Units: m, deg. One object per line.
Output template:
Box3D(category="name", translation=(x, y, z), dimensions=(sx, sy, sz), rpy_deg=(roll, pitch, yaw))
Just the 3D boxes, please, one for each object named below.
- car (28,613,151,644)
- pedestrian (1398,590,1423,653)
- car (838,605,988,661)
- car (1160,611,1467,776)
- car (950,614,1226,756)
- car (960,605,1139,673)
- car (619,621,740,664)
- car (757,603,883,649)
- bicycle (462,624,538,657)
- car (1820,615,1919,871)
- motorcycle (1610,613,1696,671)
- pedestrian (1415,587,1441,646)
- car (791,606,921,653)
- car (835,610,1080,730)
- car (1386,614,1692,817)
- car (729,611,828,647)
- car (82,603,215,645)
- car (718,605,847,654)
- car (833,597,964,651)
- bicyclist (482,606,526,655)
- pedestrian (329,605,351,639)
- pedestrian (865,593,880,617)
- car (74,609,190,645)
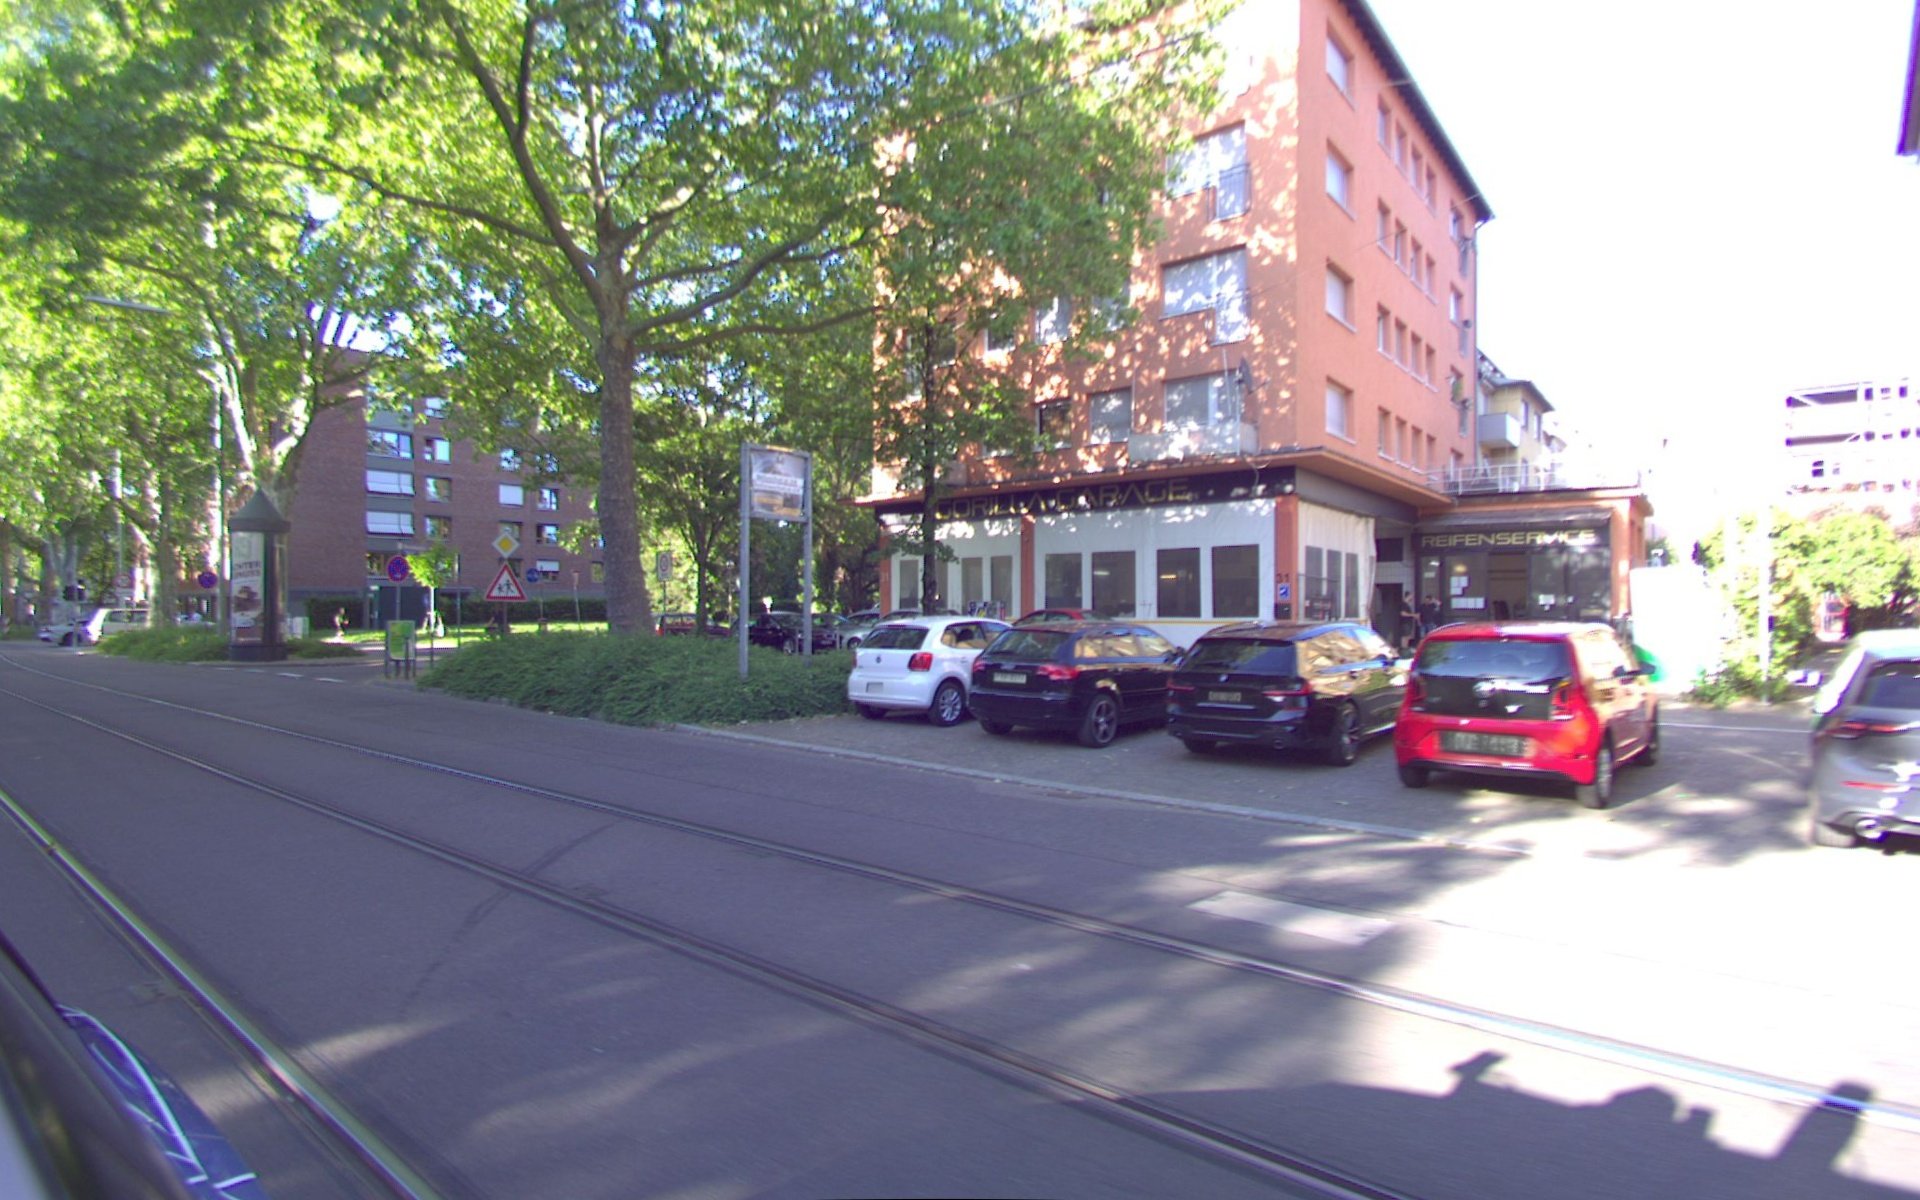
Box3D(category="car", translation=(-46.112, 1.477, 53.685), dimensions=(1.953, 1.471, 4.717), rpy_deg=(-1, 0, 39))
Box3D(category="pedestrian", translation=(12.934, 0.610, 29.054), dimensions=(0.520, 1.791, 0.534), rpy_deg=(-1, -1, 40))
Box3D(category="car", translation=(-1.330, 0.858, 27.859), dimensions=(3.891, 1.418, 1.927), rpy_deg=(-1, 0, 42))
Box3D(category="car", translation=(4.129, 0.891, 11.457), dimensions=(1.821, 1.476, 4.038), rpy_deg=(-1, 0, 43))
Box3D(category="car", translation=(1.709, 0.936, 12.743), dimensions=(1.687, 1.476, 3.562), rpy_deg=(-1, 0, 43))
Box3D(category="car", translation=(2.138, 0.902, 24.769), dimensions=(3.999, 1.498, 1.927), rpy_deg=(-1, 0, 42))
Box3D(category="car", translation=(-11.006, 1.637, 39.986), dimensions=(1.856, 1.500, 4.488), rpy_deg=(-1, 0, 35))
Box3D(category="car", translation=(-4.884, 0.882, 35.219), dimensions=(3.985, 1.537, 1.979), rpy_deg=(-1, 0, 31))
Box3D(category="bicycle", translation=(-14.693, 1.283, 32.303), dimensions=(2.574, 1.006, 0.961), rpy_deg=(-1, 0, 31))
Box3D(category="car", translation=(7.386, 0.873, 7.245), dimensions=(1.853, 1.476, 3.946), rpy_deg=(-1, 0, 40))
Box3D(category="motorcycle", translation=(15.931, 0.949, 23.293), dimensions=(1.562, 1.298, 0.587), rpy_deg=(-1, -1, 41))
Box3D(category="pedestrian", translation=(13.601, 0.477, 29.399), dimensions=(0.549, 1.673, 0.498), rpy_deg=(-1, -1, 41))
Box3D(category="car", translation=(-3.833, 1.058, 37.111), dimensions=(4.545, 1.630, 1.977), rpy_deg=(-1, 0, 34))
Box3D(category="car", translation=(0.047, 0.908, 14.651), dimensions=(1.697, 1.476, 3.382), rpy_deg=(-1, 0, 43))
Box3D(category="car", translation=(5.513, 0.894, 9.465), dimensions=(1.759, 1.476, 3.382), rpy_deg=(-1, 0, 43))
Box3D(category="car", translation=(-7.961, 1.250, 44.740), dimensions=(1.818, 1.461, 4.433), rpy_deg=(-1, 0, 33))
Box3D(category="car", translation=(-37.563, 1.064, 46.921), dimensions=(1.937, 1.848, 4.525), rpy_deg=(-1, 0, 39))
Box3D(category="car", translation=(-5.857, 0.950, 33.251), dimensions=(3.986, 1.504, 1.799), rpy_deg=(-1, 0, 31))
Box3D(category="car", translation=(-2.443, 0.913, 39.625), dimensions=(4.907, 2.019, 1.977), rpy_deg=(-1, 0, 34))
Box3D(category="bicyclist", translation=(-14.524, 0.965, 32.249), dimensions=(1.113, 1.518, 0.794), rpy_deg=(-1, -1, 31))
Box3D(category="pedestrian", translation=(-30.808, 1.101, 50.275), dimensions=(0.779, 1.686, 0.702), rpy_deg=(-1, -1, 41))
Box3D(category="pedestrian", translation=(-6.257, 0.358, 72.233), dimensions=(0.766, 1.686, 0.714), rpy_deg=(0, -1, -32))
Box3D(category="car", translation=(-40.260, 1.272, 49.270), dimensions=(1.900, 1.659, 4.098), rpy_deg=(-1, 0, 39))
